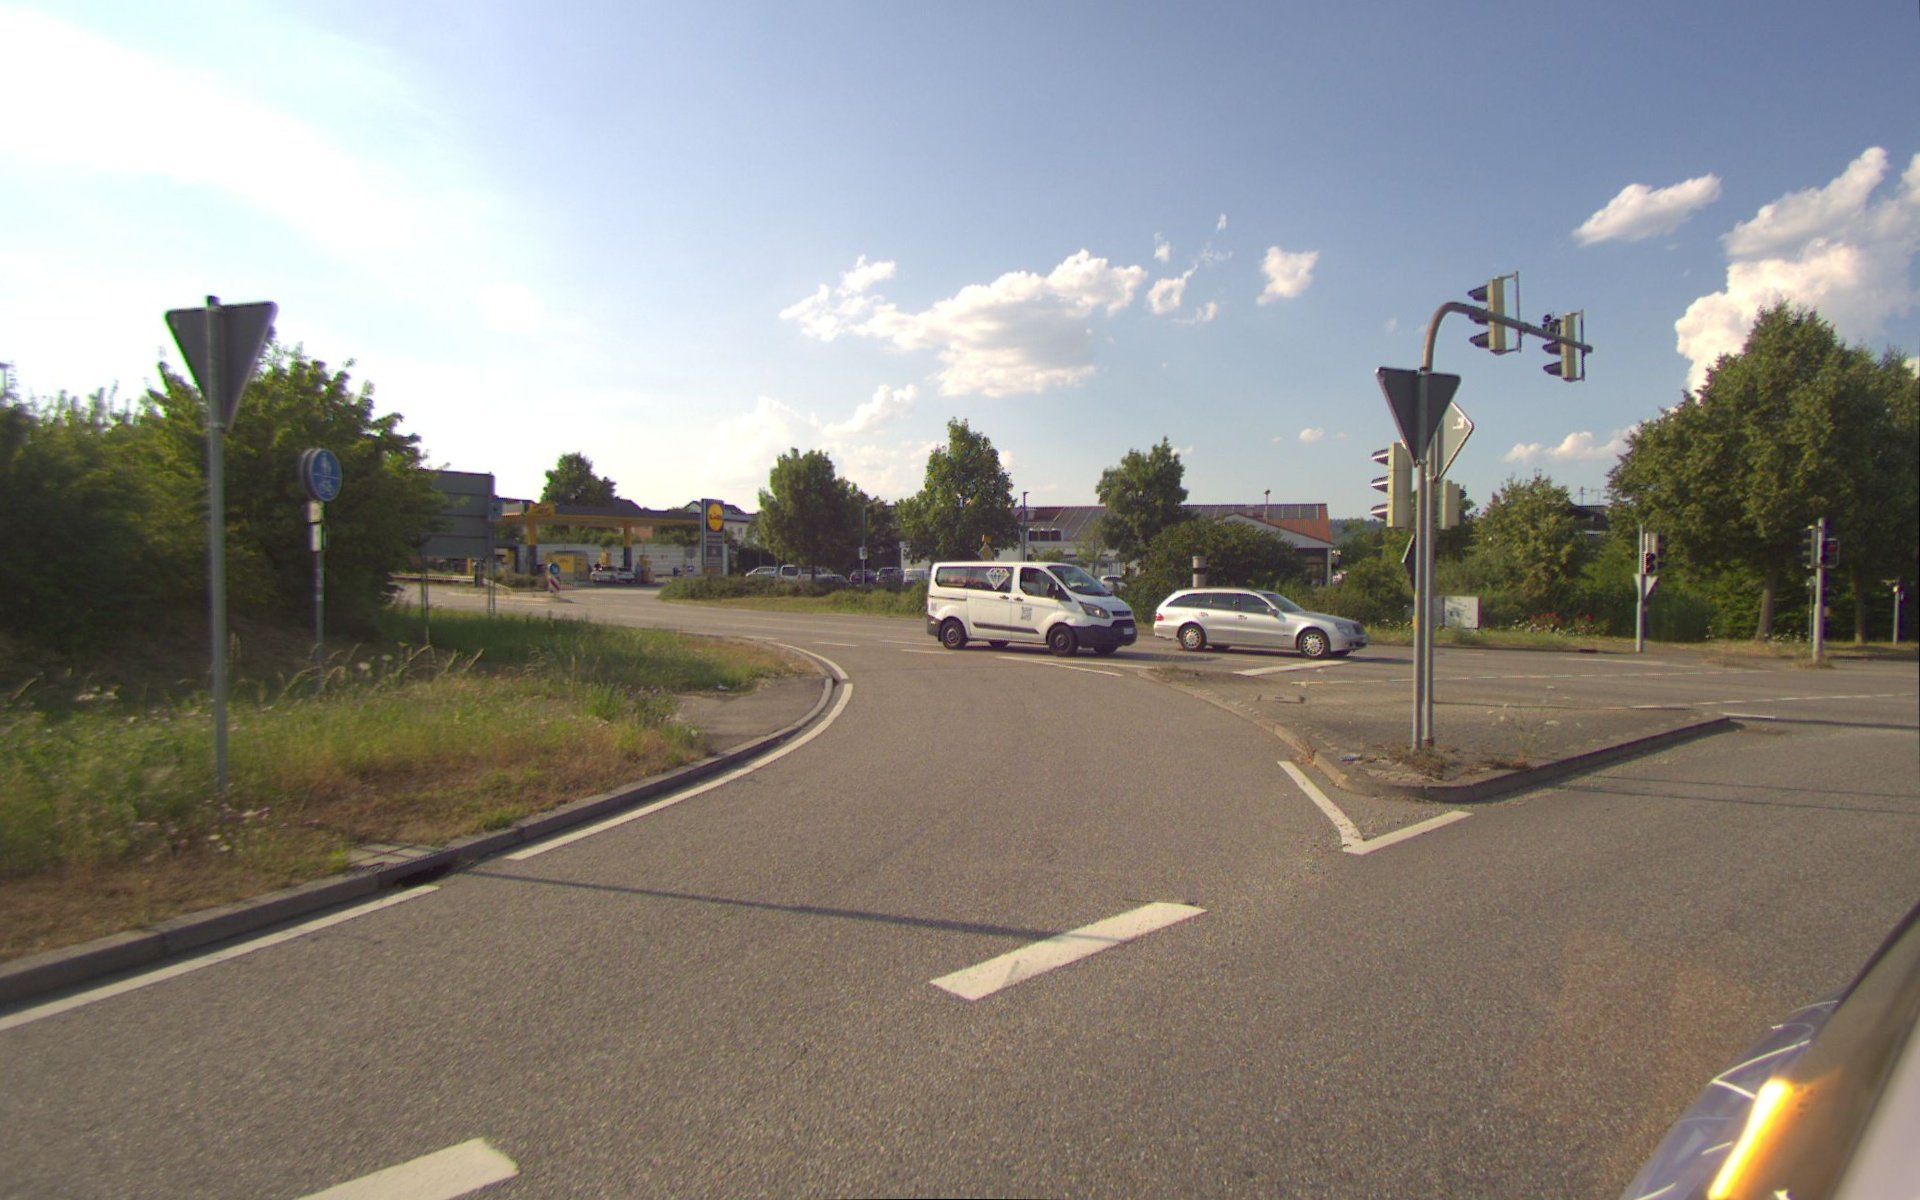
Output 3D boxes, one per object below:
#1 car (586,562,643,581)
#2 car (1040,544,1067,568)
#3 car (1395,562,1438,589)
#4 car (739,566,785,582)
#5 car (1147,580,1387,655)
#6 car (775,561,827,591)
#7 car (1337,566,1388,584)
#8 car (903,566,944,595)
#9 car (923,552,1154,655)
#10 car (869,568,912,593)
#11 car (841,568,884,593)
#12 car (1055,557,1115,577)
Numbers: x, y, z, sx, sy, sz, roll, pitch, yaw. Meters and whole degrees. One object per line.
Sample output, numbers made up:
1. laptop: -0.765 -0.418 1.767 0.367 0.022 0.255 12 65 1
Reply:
1. car: -29.156 -2.359 85.362 4.830 1.393 2.259 0 -1 38
2. car: 8.159 -3.844 88.257 1.804 1.868 3.771 1 0 14
3. car: 28.926 -1.516 64.163 1.581 1.601 3.577 1 0 9
4. car: -19.261 -2.549 98.345 3.887 1.392 2.007 2 0 20
5. car: 6.884 0.350 23.032 4.930 1.533 1.836 1 -1 40
6. car: -12.274 -1.832 78.456 1.974 2.039 4.901 1 -1 19
7. car: 34.168 -2.126 86.030 3.887 1.392 2.007 2 0 20
8. car: -2.688 -1.430 75.698 1.938 2.039 4.637 1 0 13
9. car: 1.622 -0.001 22.102 4.796 1.972 1.879 3 2 39
10. car: -6.084 -1.676 89.066 1.974 2.039 4.901 1 -1 19
11. car: -8.633 -1.712 90.290 1.974 2.039 4.901 1 -1 19
12. car: 10.437 -2.779 84.446 4.724 1.554 1.842 1 -1 15
